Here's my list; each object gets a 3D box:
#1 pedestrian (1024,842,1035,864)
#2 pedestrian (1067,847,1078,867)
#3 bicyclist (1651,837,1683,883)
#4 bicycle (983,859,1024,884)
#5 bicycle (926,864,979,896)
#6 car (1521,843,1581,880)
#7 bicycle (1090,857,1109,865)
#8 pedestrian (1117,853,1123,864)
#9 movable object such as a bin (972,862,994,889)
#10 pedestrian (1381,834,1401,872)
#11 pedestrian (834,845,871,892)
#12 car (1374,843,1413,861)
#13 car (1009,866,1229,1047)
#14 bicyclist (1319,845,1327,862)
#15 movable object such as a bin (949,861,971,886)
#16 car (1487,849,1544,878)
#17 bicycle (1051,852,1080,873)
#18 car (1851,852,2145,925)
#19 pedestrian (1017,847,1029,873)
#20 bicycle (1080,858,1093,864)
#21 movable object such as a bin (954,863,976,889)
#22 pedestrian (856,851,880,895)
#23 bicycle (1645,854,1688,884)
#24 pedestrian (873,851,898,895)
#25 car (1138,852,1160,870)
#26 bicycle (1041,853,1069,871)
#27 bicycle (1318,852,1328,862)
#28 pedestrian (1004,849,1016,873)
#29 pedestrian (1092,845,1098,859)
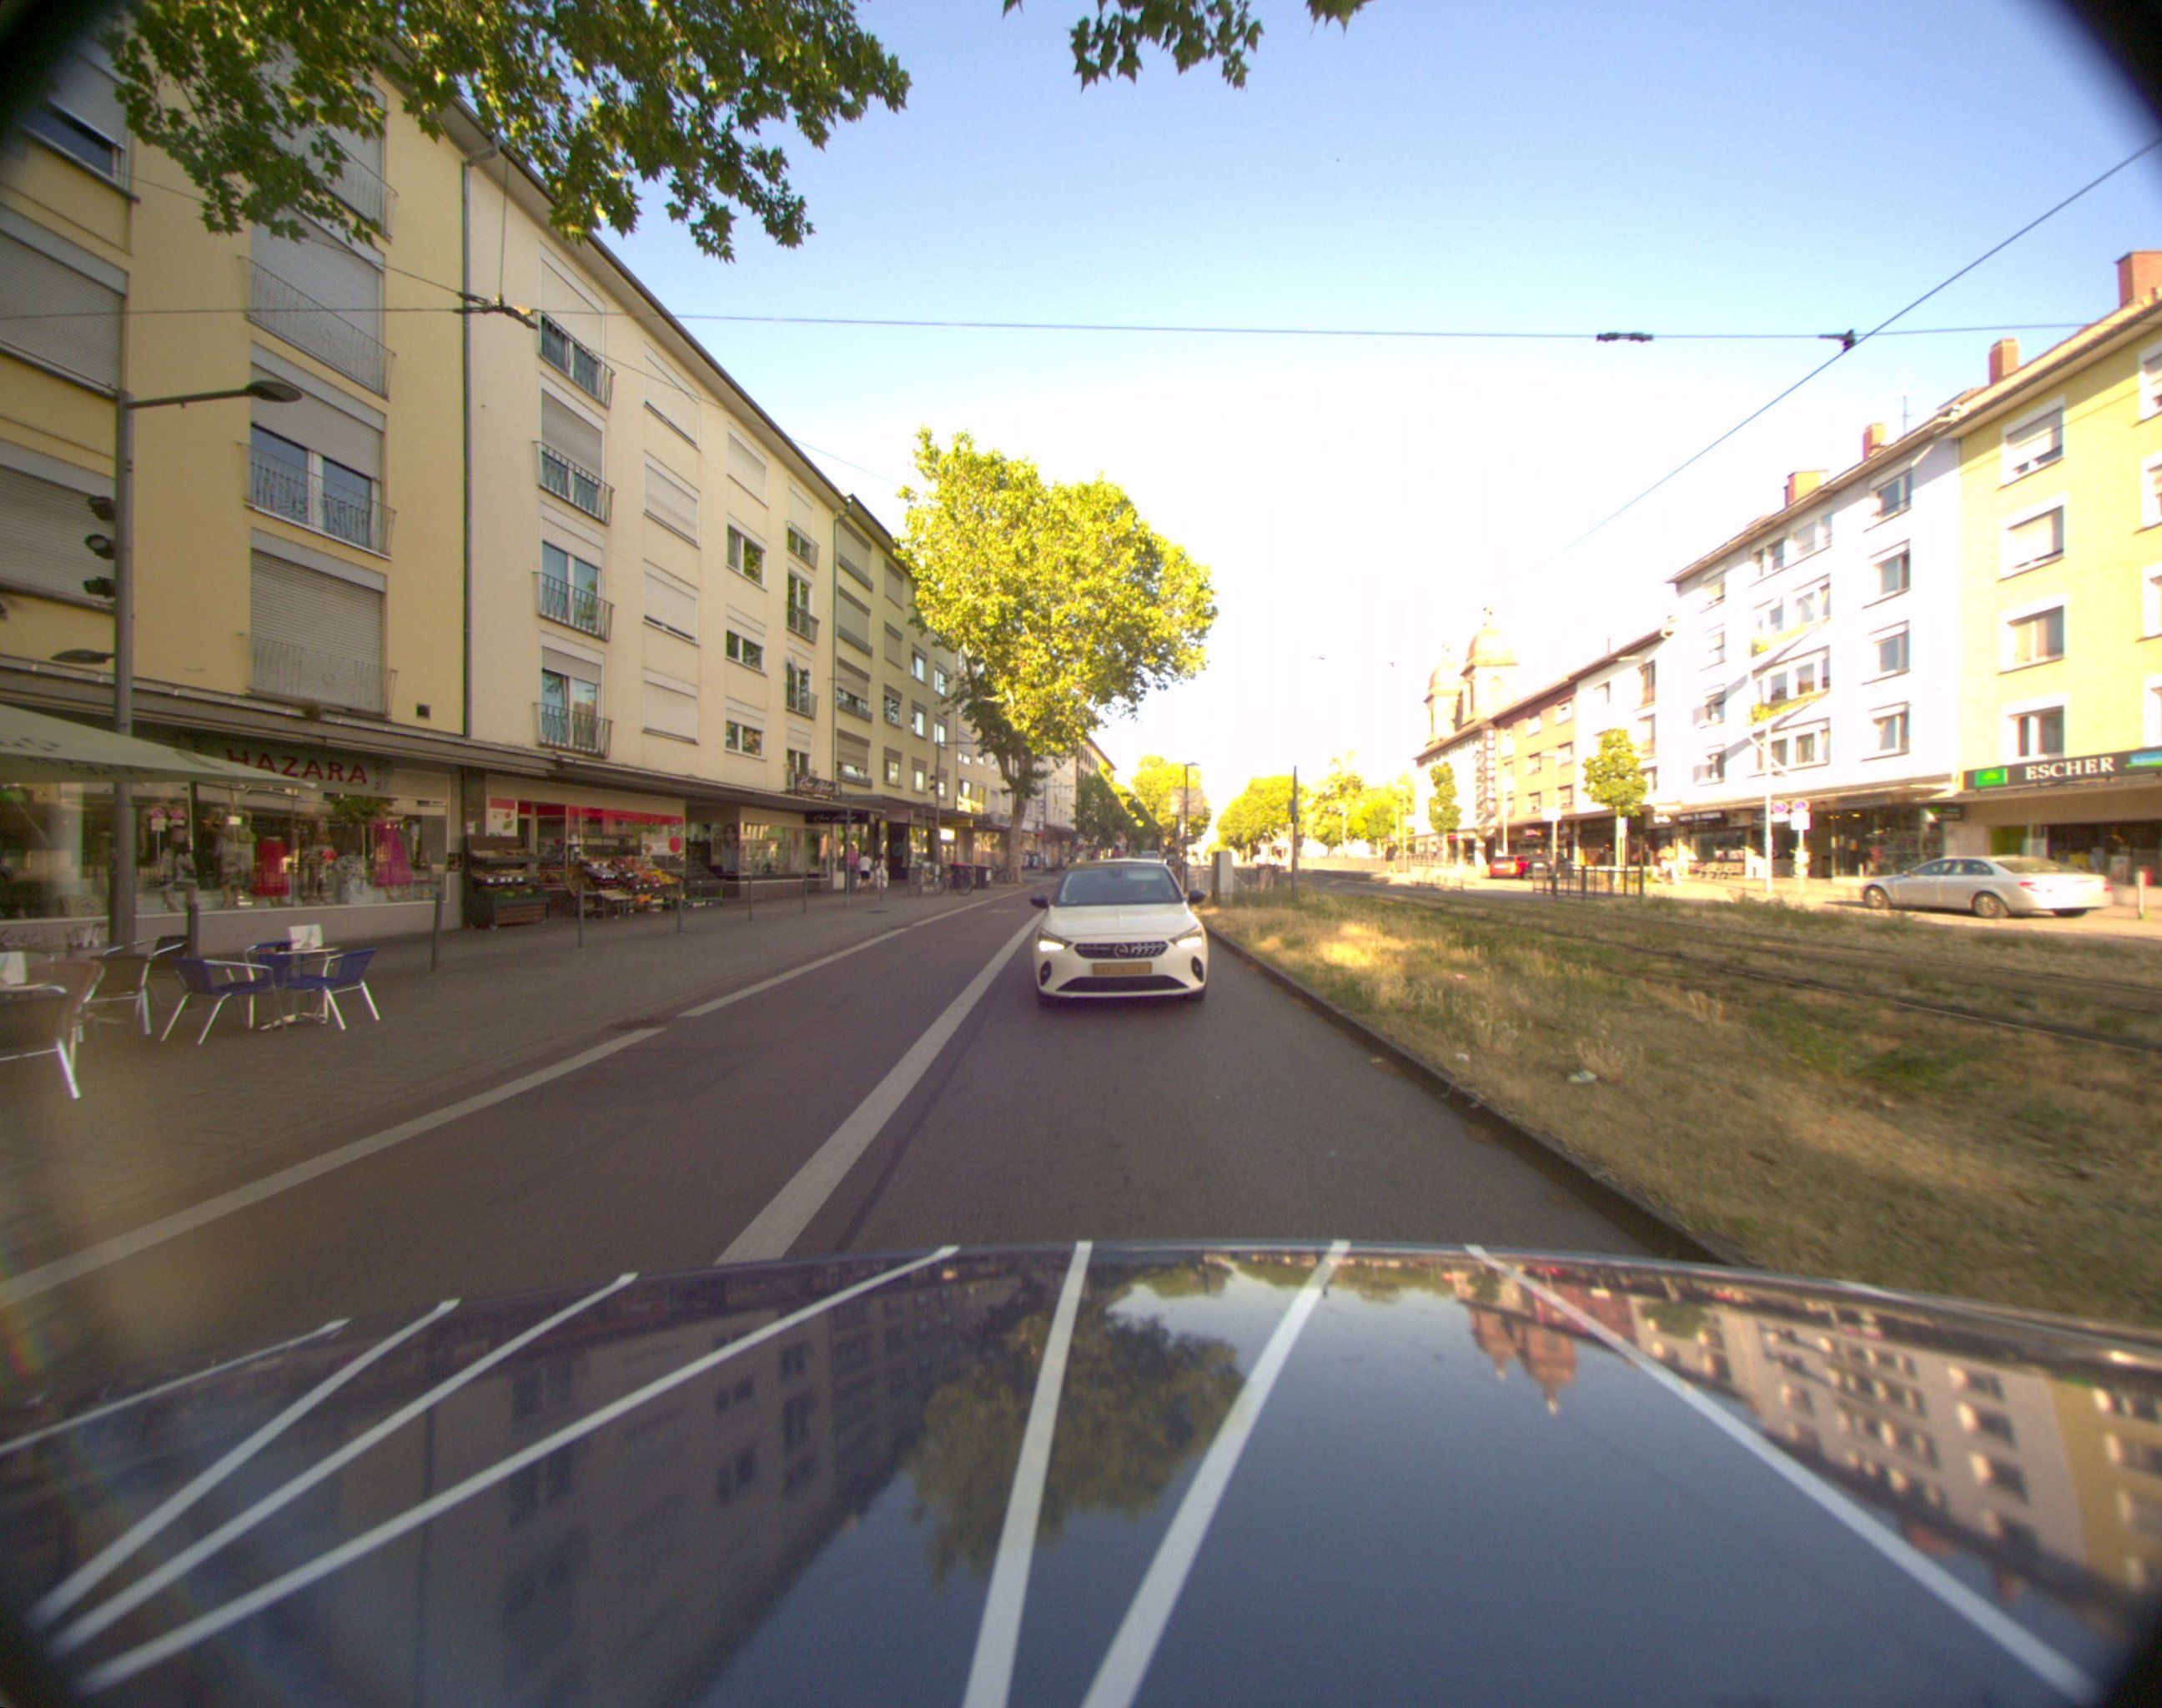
[{"bbox_3d":[-3.989,-0.083,58.718,0.569,1.665,1.070,2,1,9],"label":"pedestrian"},{"bbox_3d":[-0.742,0.250,69.564,0.774,1.789,0.931,3,1,10],"label":"pedestrian"},{"bbox_3d":[25.278,0.256,32.789,0.693,1.876,1.059,-4,1,17],"label":"bicyclist"},{"bbox_3d":[-3.570,0.796,35.191,1.721,1.111,0.745,0,4,8],"label":"bicycle"},{"bbox_3d":[-4.891,0.981,28.948,1.909,1.098,0.519,2,1,14],"label":"bicycle"},{"bbox_3d":[25.878,0.406,41.768,3.777,1.789,1.859,-3,1,-43],"label":"car"},{"bbox_3d":[1.796,0.678,75.250,1.762,0.773,0.702,1,0,-14],"label":"bicycle"},{"bbox_3d":[6.365,0.718,124.808,0.851,1.645,0.916,-2,1,8],"label":"pedestrian"},{"bbox_3d":[-4.220,0.929,32.780,0.723,1.096,0.645,4,2,15],"label":"movable object such as a bin"},{"bbox_3d":[15.021,-0.060,36.819,0.743,1.838,0.590,0,1,3],"label":"pedestrian"},{"bbox_3d":[-8.848,0.538,29.495,0.969,1.753,1.134,1,2,9],"label":"pedestrian"},{"bbox_3d":[29.786,-0.192,72.374,4.007,1.477,1.739,-3,1,-39],"label":"car"},{"bbox_3d":[0.406,0.908,8.378,1.826,1.433,3.828,-2,0,3],"label":"car"},{"bbox_3d":[28.528,-0.015,89.634,0.765,2.002,0.911,0,1,7],"label":"bicyclist"},{"bbox_3d":[-5.353,0.867,33.671,0.722,1.066,0.645,2,2,27],"label":"movable object such as a bin"},{"bbox_3d":[25.587,0.526,44.732,3.777,1.482,1.859,-3,1,-43],"label":"car"},{"bbox_3d":[-1.087,0.596,54.007,1.788,1.304,0.695,6,2,20],"label":"bicycle"},{"bbox_3d":[21.814,0.732,18.440,1.998,1.469,4.412,-2,0,5],"label":"car"},{"bbox_3d":[-3.648,0.386,48.078,0.547,1.619,0.896,2,0,9],"label":"pedestrian"},{"bbox_3d":[0.543,0.684,75.457,0.840,0.569,1.758,1,0,-14],"label":"bicycle"},{"bbox_3d":[-5.023,0.948,32.871,0.723,1.066,0.644,5,2,6],"label":"movable object such as a bin"},{"bbox_3d":[-7.827,0.688,27.915,0.623,1.577,0.627,2,1,7],"label":"pedestrian"},{"bbox_3d":[25.377,0.619,32.981,0.706,1.152,2.201,-4,1,17],"label":"bicycle"},{"bbox_3d":[-7.172,0.698,27.892,0.636,1.577,0.627,2,1,7],"label":"pedestrian"},{"bbox_3d":[5.615,0.569,62.878,1.717,1.390,4.001,-2,0,4],"label":"car"},{"bbox_3d":[-1.903,0.572,55.271,1.794,1.118,0.663,4,1,-19],"label":"bicycle"},{"bbox_3d":[28.526,0.373,89.648,0.719,1.223,2.279,0,0,7],"label":"bicycle"},{"bbox_3d":[-4.542,0.449,48.564,0.541,1.493,0.896,2,0,9],"label":"pedestrian"},{"bbox_3d":[1.537,-0.199,83.676,0.490,1.559,0.649,2,1,10],"label":"pedestrian"}]
